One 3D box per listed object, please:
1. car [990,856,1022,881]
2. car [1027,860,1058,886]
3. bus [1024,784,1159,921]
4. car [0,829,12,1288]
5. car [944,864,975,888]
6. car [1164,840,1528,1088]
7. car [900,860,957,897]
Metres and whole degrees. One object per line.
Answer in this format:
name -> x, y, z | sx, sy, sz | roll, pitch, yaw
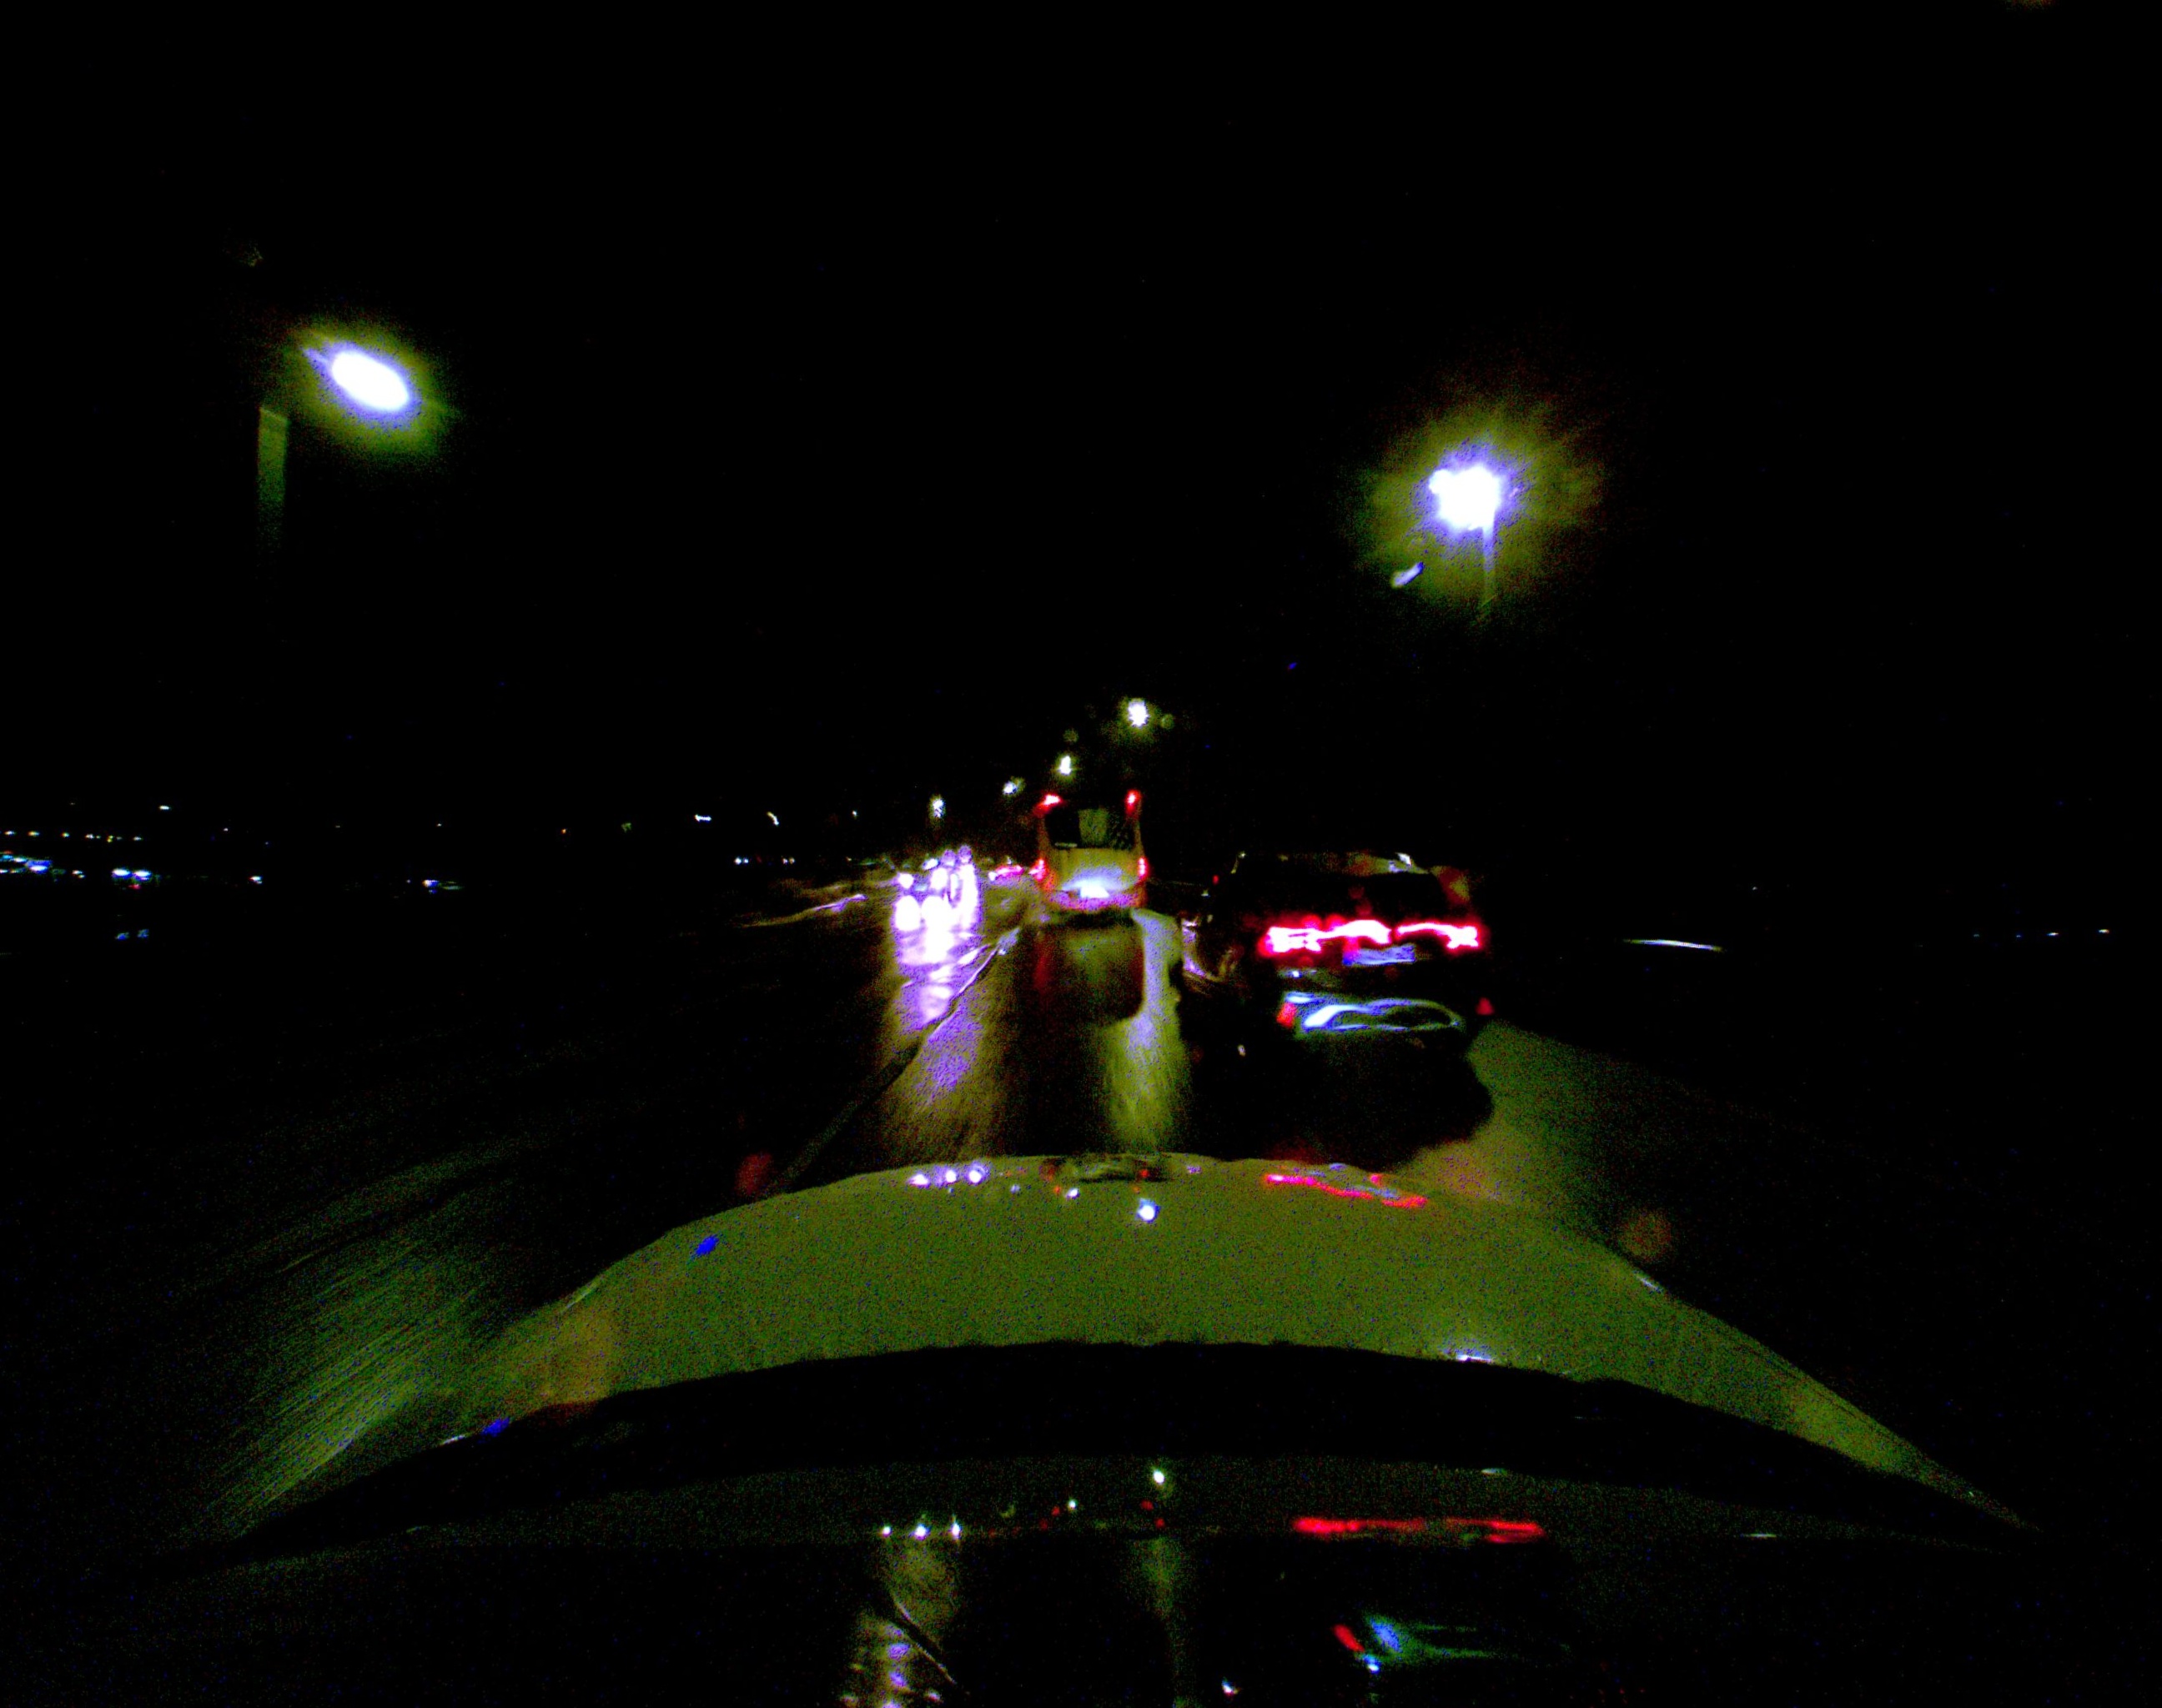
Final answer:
car -> -6.387, 1.210, 69.236 | 1.998, 2.013, 3.978 | -1, 0, -16
car -> -2.518, 1.193, 52.668 | 1.636, 1.656, 3.698 | 0, -1, -9
bus -> -0.189, -0.063, 25.008 | 3.077, 3.133, 12.678 | 0, 0, -4
car -> -5.248, 0.736, 0.825 | 1.988, 1.675, 4.627 | 0, 0, 8
car -> -8.041, 1.432, 53.995 | 1.764, 1.427, 4.211 | -2, -1, -5
car -> 1.964, 0.745, 7.388 | 1.851, 1.586, 3.996 | -1, -1, -2
car -> -6.756, 1.064, 36.401 | 1.760, 1.517, 3.948 | -1, 0, 0
